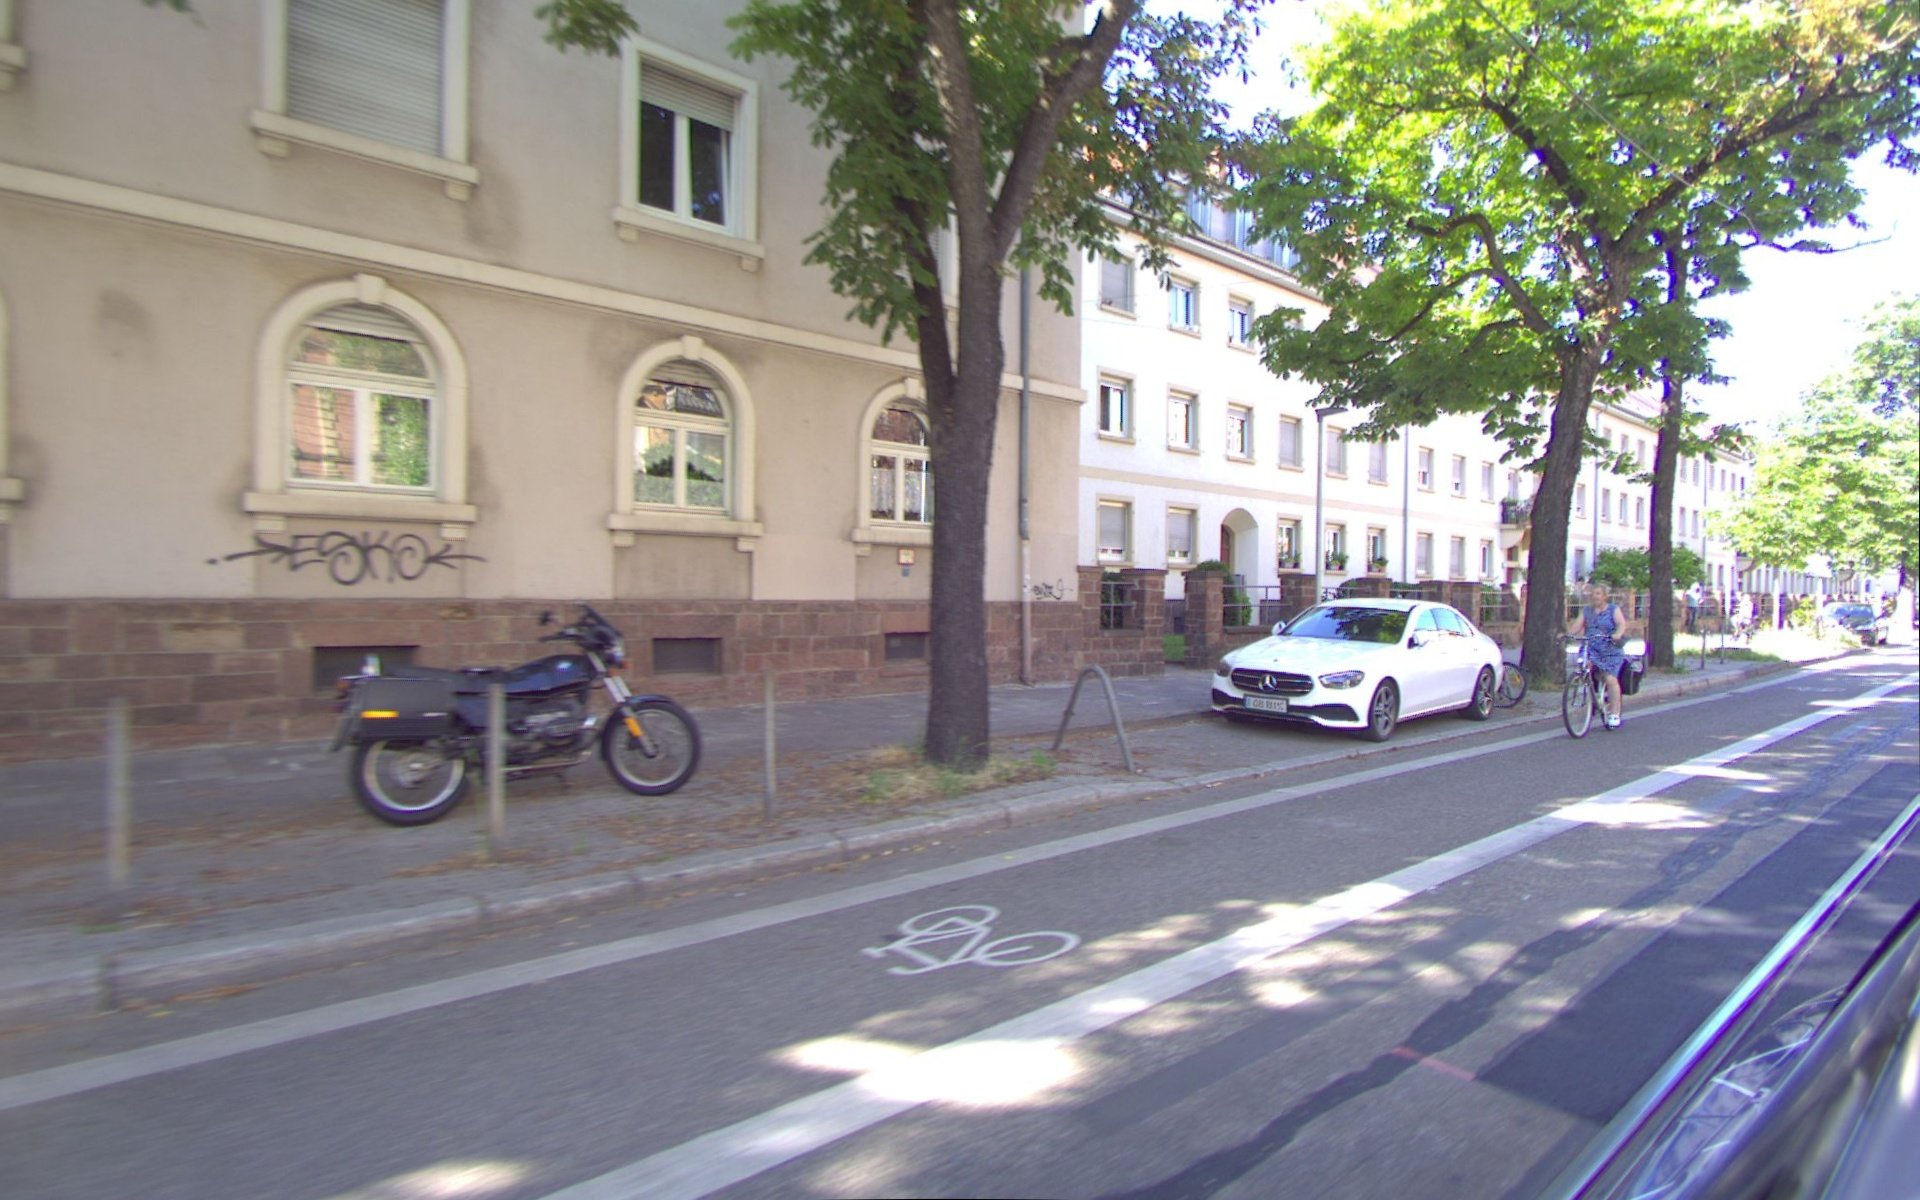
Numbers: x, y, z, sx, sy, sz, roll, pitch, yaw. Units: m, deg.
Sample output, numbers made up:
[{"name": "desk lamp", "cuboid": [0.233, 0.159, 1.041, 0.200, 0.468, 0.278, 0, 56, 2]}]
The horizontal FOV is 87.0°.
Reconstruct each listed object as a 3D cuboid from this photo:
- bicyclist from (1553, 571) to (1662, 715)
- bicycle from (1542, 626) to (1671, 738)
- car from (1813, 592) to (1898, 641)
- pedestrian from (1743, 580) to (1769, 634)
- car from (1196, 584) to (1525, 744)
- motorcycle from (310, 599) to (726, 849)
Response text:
[{"name": "bicyclist", "cuboid": [7.346, 0.451, 11.467, 1.209, 1.533, 0.775, 0, 0, -43]}, {"name": "bicycle", "cuboid": [7.343, 0.871, 11.460, 2.024, 1.100, 0.775, 0, 0, -44]}, {"name": "car", "cuboid": [30.430, 0.510, 34.345, 4.537, 1.485, 1.759, 0, 2, -44]}, {"name": "pedestrian", "cuboid": [30.363, 0.271, 38.622, 0.740, 2.039, 0.678, 0, 0, 41]}, {"name": "car", "cuboid": [4.902, 0.597, 12.011, 4.670, 1.502, 1.821, 0, 2, -44]}, {"name": "motorcycle", "cuboid": [-2.635, 0.640, 6.215, 2.221, 1.266, 0.763, 0, 1, -39]}]
